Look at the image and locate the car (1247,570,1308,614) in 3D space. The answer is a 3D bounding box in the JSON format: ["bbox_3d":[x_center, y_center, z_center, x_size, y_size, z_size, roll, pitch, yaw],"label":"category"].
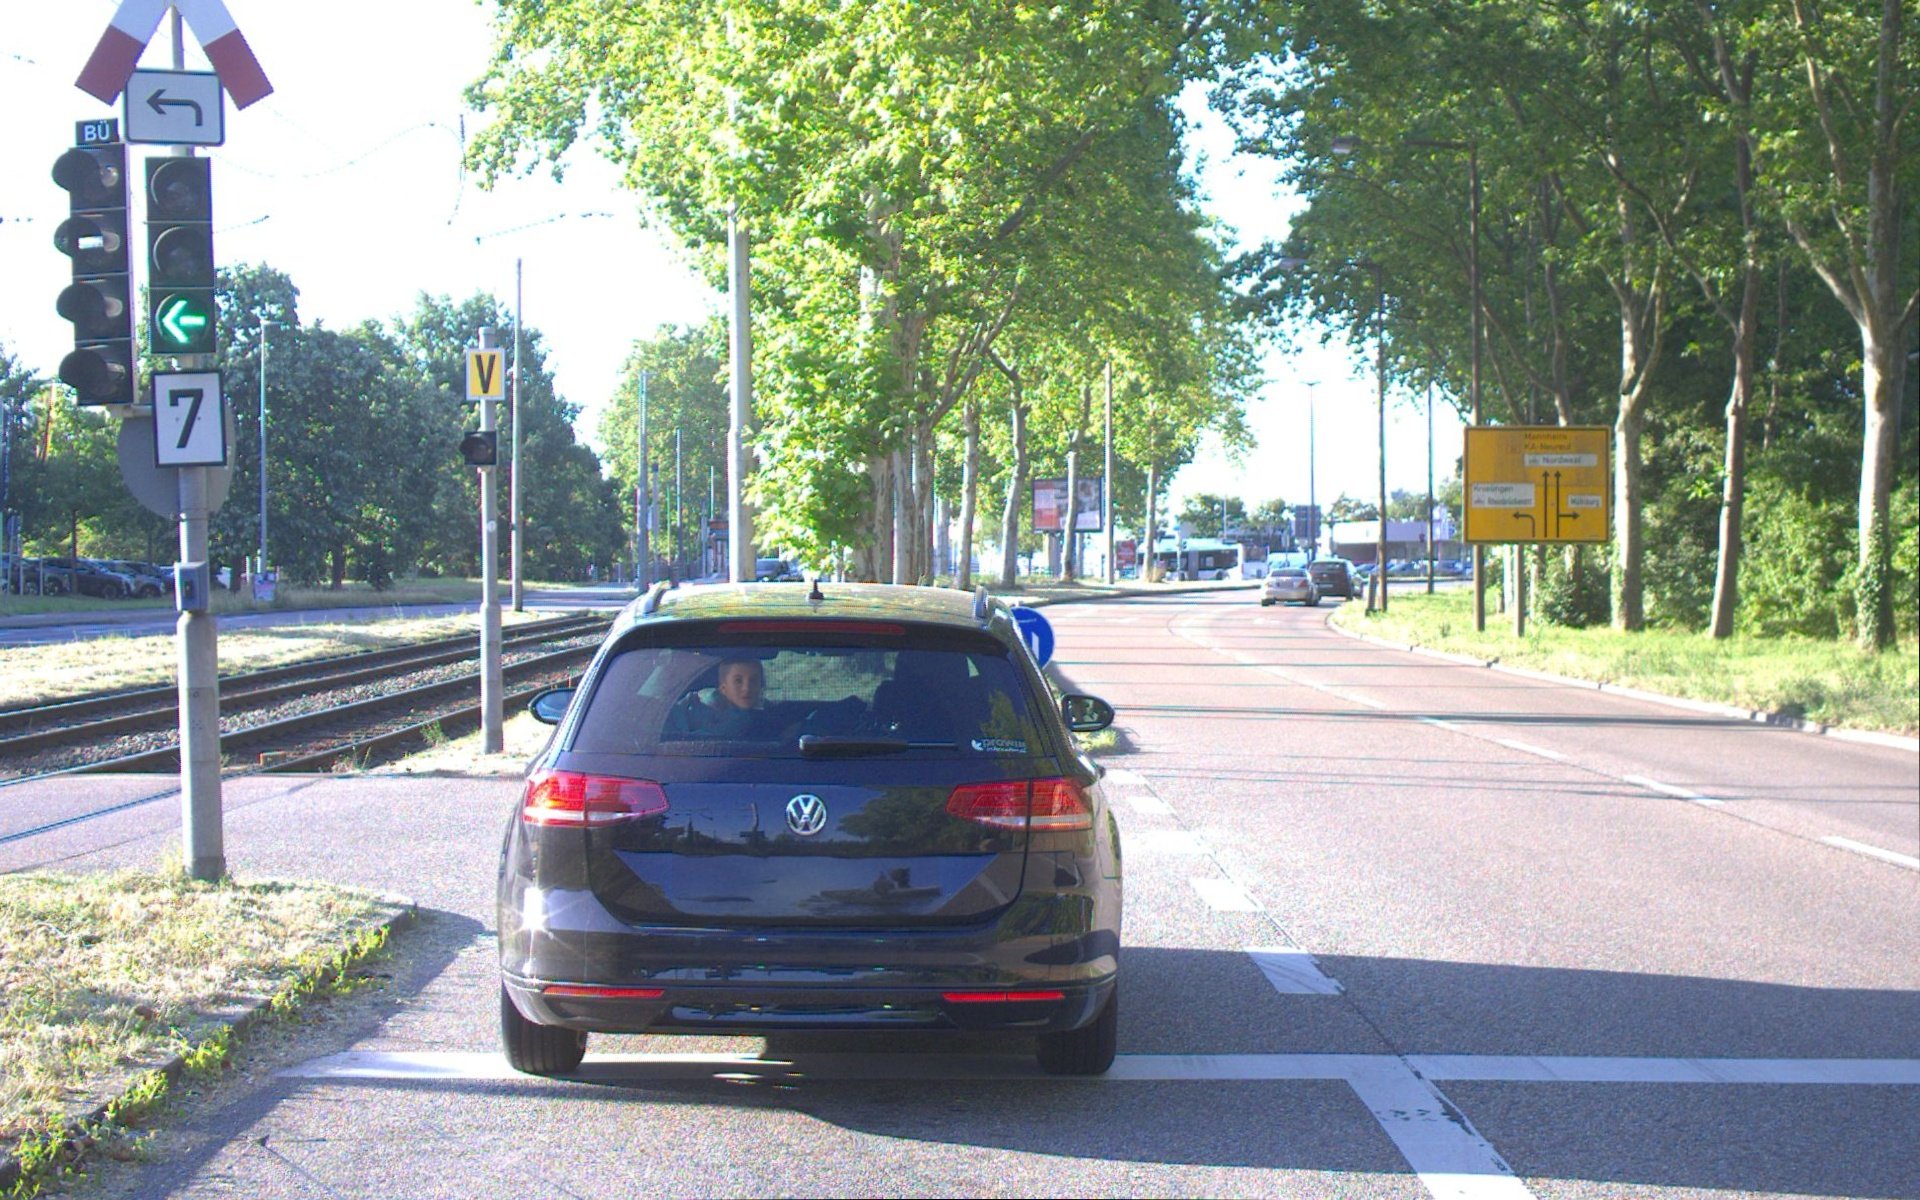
[{"bbox_3d":[10.799,-0.281,116.636,1.994,1.437,3.999,1,0,6],"label":"car"}]

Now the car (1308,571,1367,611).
[{"bbox_3d":[13.930,-0.333,126.623,1.994,1.435,3.999,1,0,8],"label":"car"}]

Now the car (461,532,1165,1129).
[{"bbox_3d":[-0.577,0.604,11.131,1.824,1.550,4.259,1,0,-5],"label":"car"}]

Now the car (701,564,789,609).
[{"bbox_3d":[-8.314,-0.533,133.372,1.811,1.678,3.995,1,1,23],"label":"car"}]
